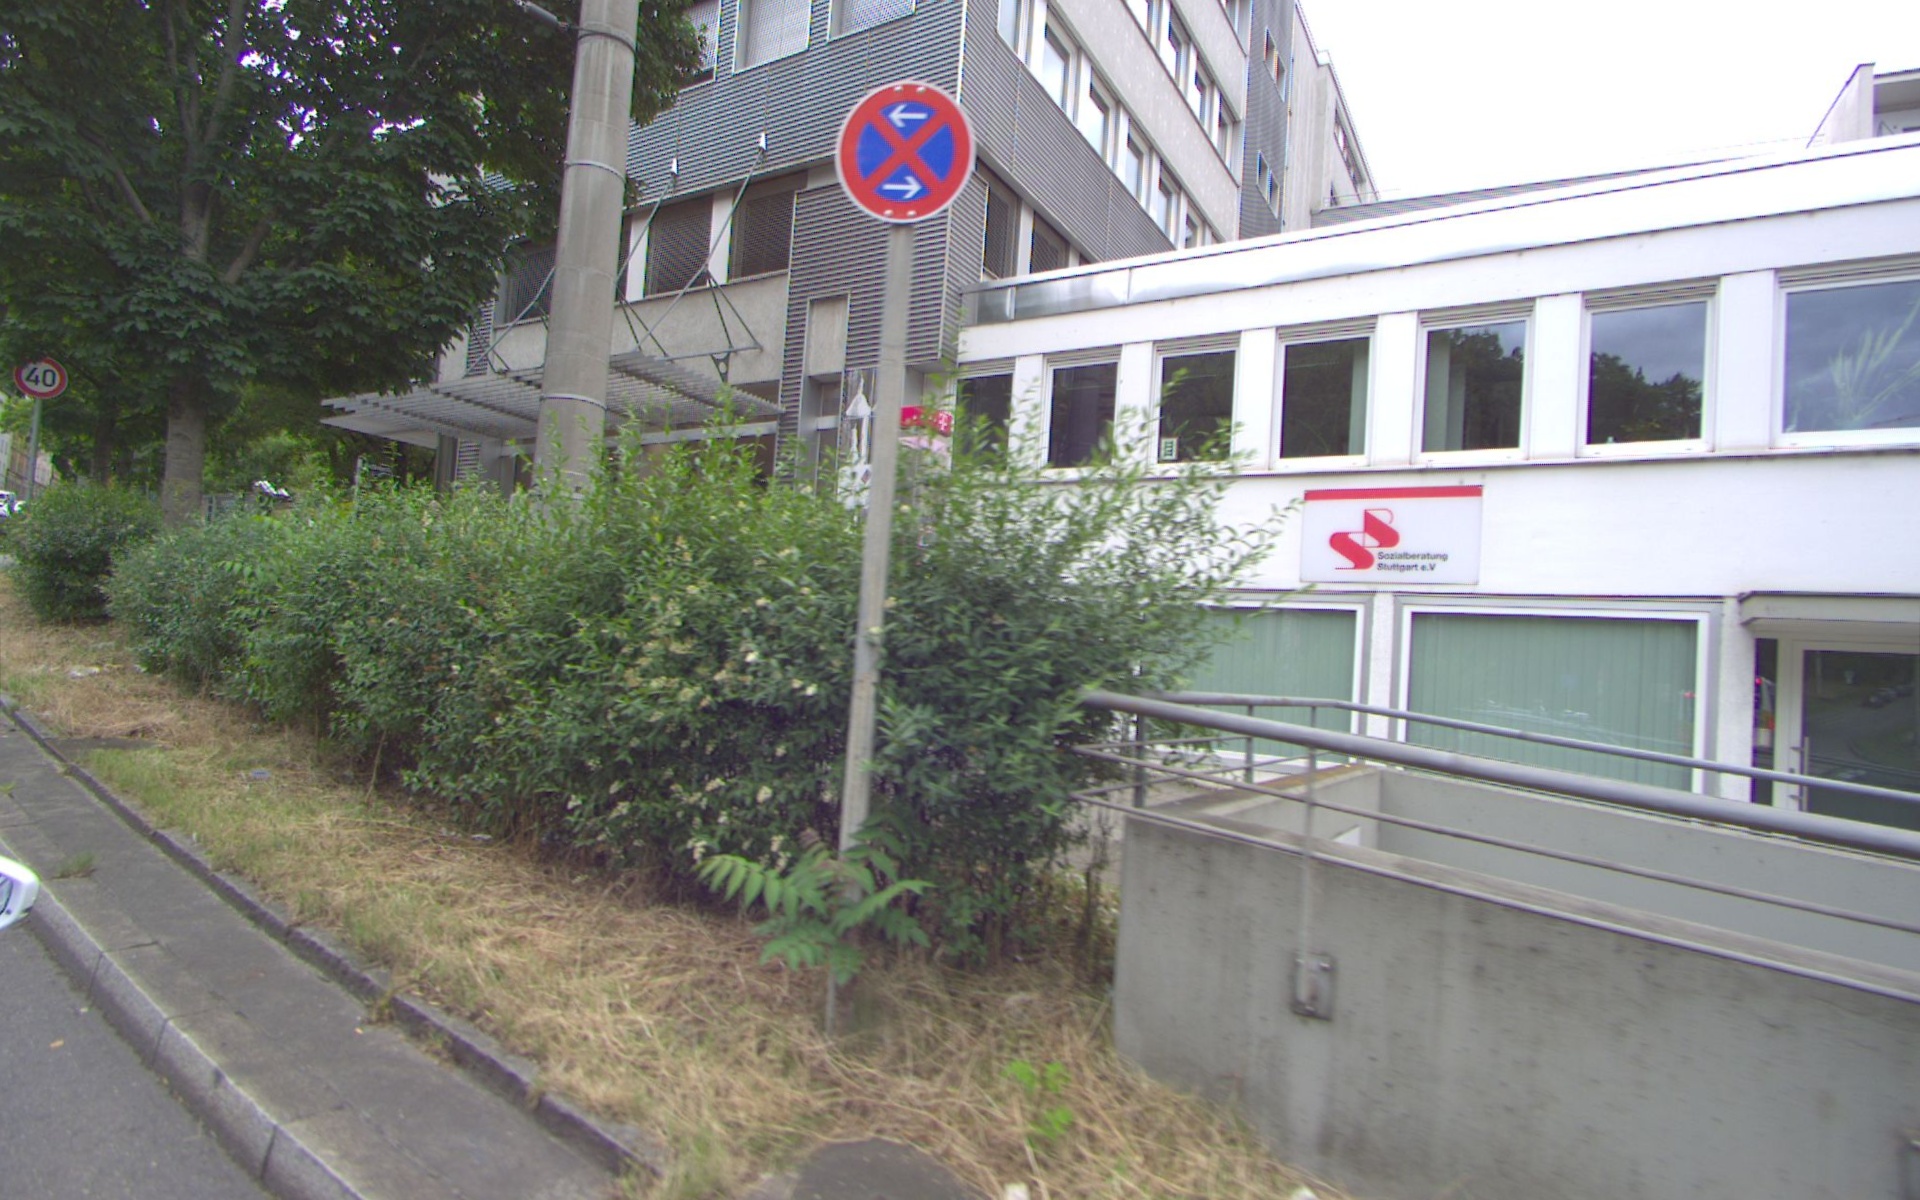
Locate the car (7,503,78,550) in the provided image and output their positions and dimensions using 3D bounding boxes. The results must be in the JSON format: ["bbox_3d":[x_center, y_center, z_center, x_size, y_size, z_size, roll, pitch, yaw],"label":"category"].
[{"bbox_3d":[-40.600,-3.230,44.600,1.987,1.641,3.956,10,-3,-40],"label":"car"}]

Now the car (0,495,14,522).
[{"bbox_3d":[-84.946,-8.156,88.142,2.414,2.194,5.966,9,-3,-40],"label":"car"}]

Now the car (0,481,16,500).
[{"bbox_3d":[-115.242,-13.254,120.973,1.984,2.038,3.958,6,0,-39],"label":"car"}]

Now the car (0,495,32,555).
[{"bbox_3d":[-28.924,-2.306,29.644,3.785,1.590,1.902,3,-6,43],"label":"car"}]

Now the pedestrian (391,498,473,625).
[{"bbox_3d":[-8.060,-0.578,15.369,0.598,1.815,0.674,7,-2,31],"label":"pedestrian"}]
